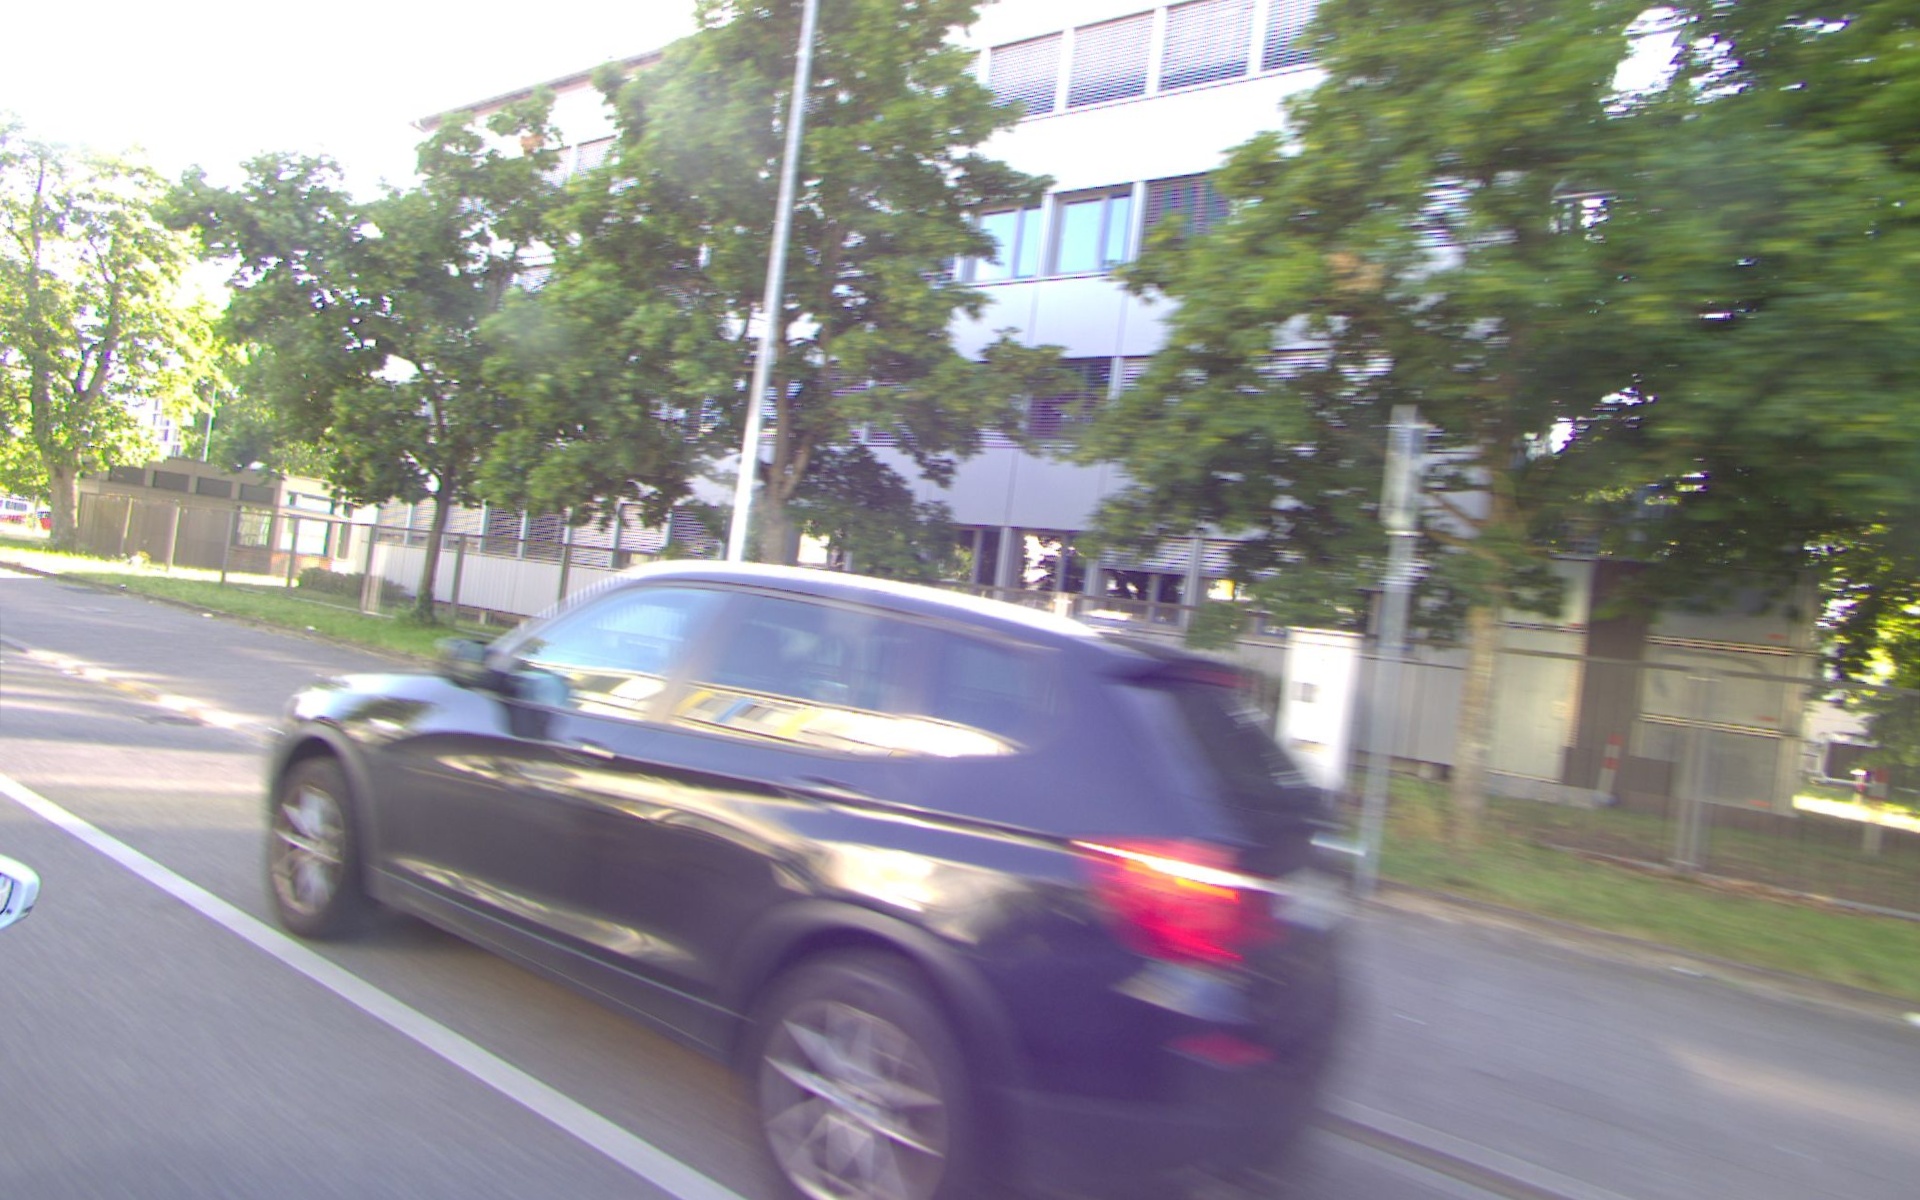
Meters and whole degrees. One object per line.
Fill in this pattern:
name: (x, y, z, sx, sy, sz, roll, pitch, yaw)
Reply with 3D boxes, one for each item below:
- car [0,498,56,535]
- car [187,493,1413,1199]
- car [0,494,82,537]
car: (-66.796, -5.977, 70.884, 1.966, 2.036, 3.997, 5, -3, 30)
car: (-0.905, 0.718, 3.941, 4.517, 1.684, 1.816, 7, -2, 33)
car: (-59.385, -5.417, 64.540, 1.965, 2.036, 3.999, 5, -3, 27)
